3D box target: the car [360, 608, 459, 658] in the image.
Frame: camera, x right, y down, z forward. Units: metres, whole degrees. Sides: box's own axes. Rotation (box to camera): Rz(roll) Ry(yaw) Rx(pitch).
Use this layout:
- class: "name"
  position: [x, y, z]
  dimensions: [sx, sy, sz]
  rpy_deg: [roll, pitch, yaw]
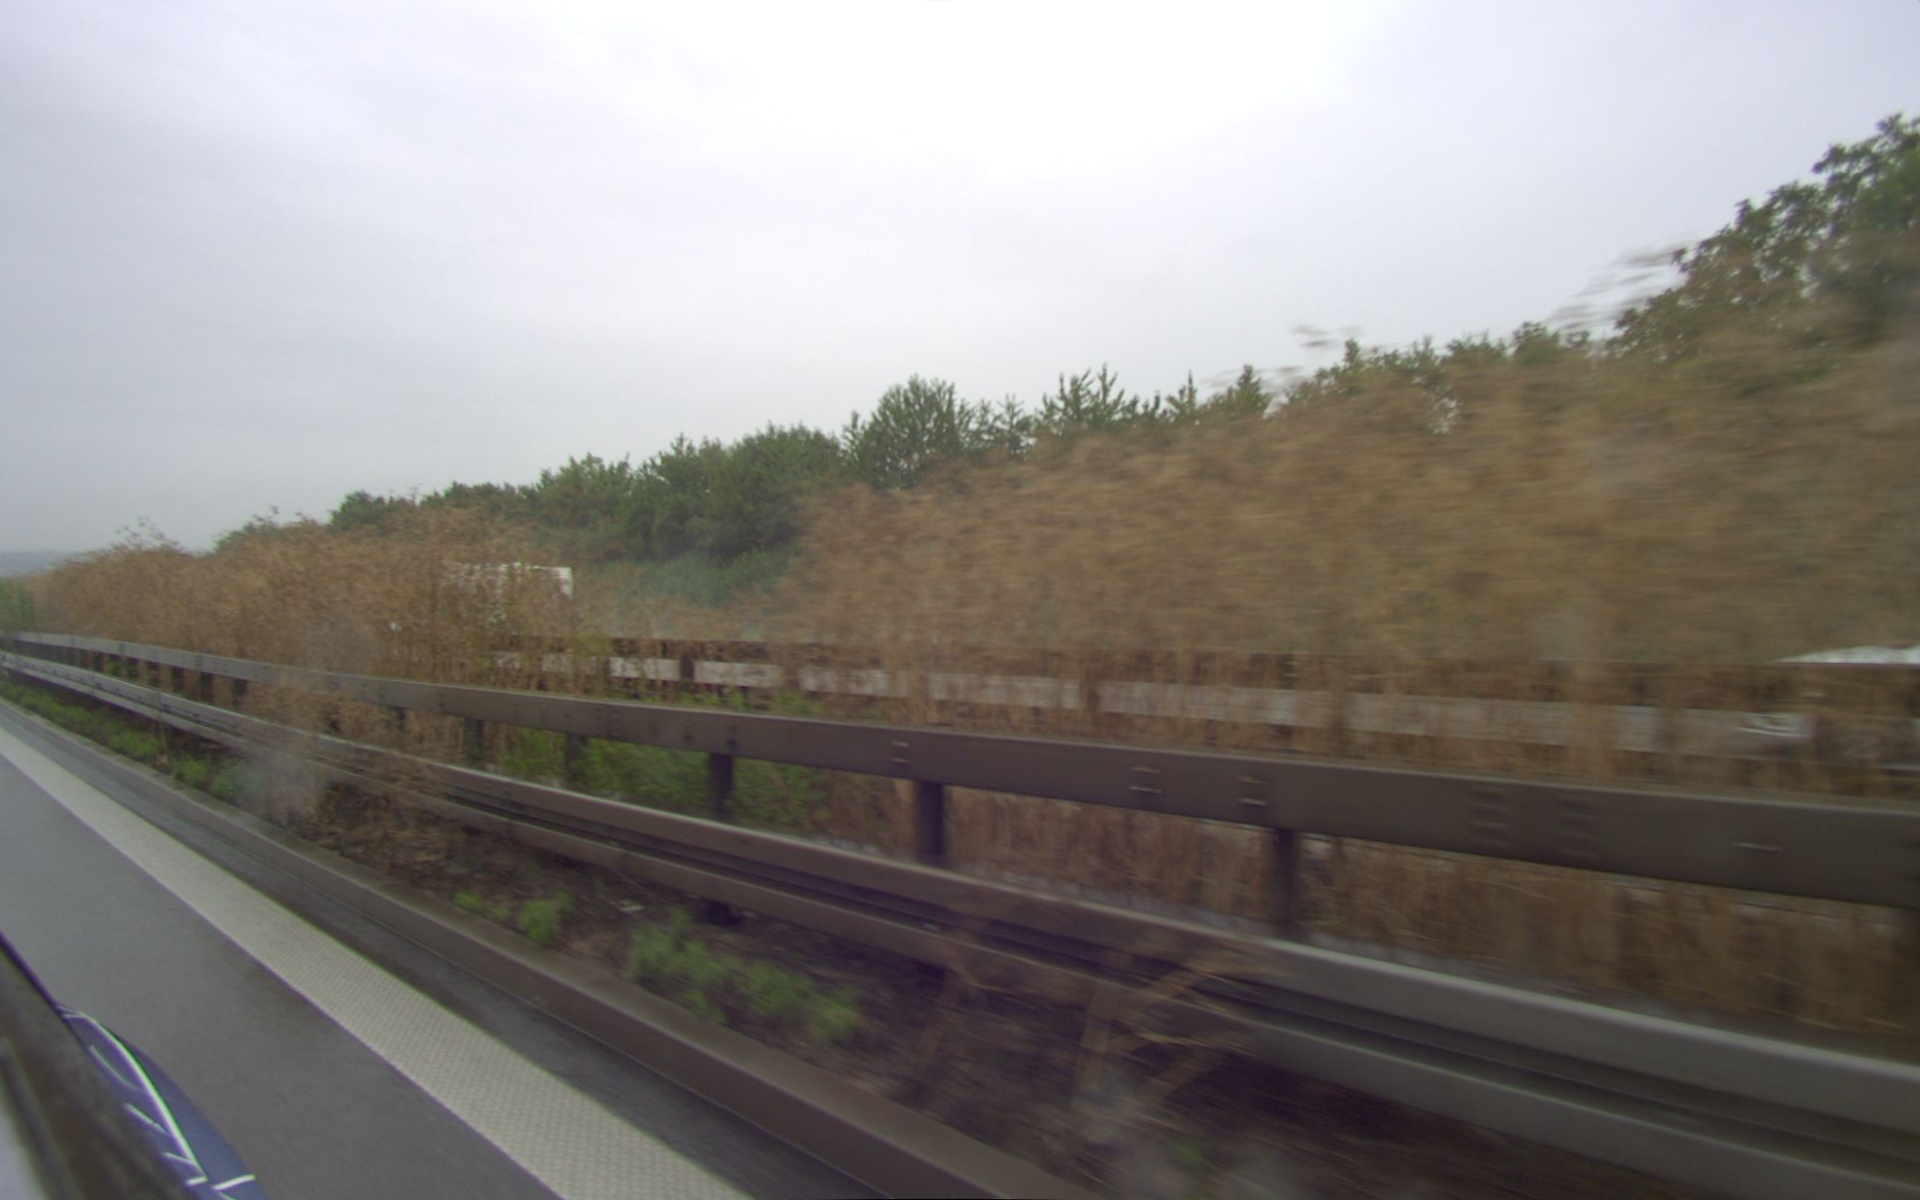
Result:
- class: "car"
  position: [-17.157, 1.000, 31.472]
  dimensions: [4.127, 1.468, 1.409]
  rpy_deg: [-1, -1, 42]
